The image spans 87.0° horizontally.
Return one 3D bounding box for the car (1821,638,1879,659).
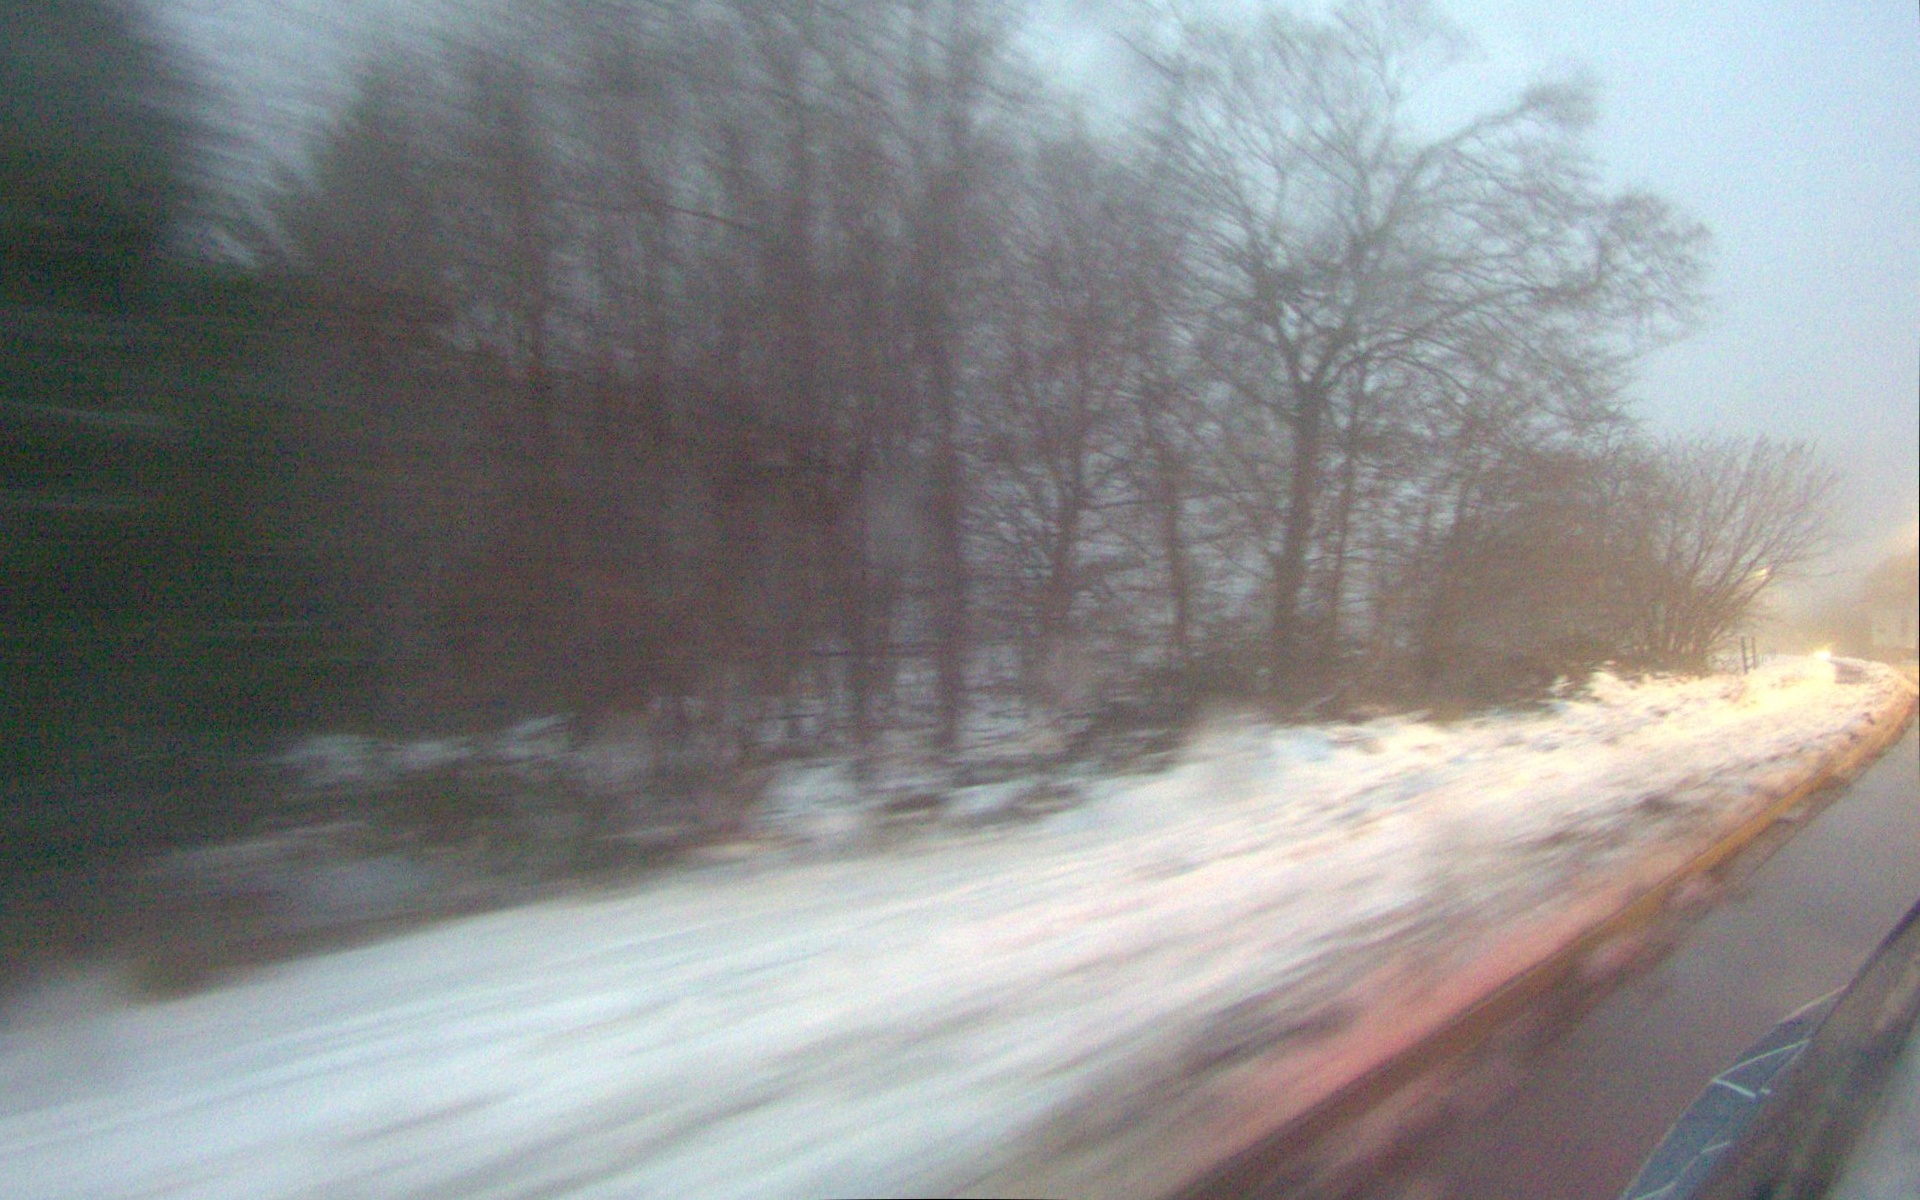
[{"bbox_3d":[63.429,3.469,72.231,1.865,1.445,5.336,-1,-4,28],"label":"car"}]
